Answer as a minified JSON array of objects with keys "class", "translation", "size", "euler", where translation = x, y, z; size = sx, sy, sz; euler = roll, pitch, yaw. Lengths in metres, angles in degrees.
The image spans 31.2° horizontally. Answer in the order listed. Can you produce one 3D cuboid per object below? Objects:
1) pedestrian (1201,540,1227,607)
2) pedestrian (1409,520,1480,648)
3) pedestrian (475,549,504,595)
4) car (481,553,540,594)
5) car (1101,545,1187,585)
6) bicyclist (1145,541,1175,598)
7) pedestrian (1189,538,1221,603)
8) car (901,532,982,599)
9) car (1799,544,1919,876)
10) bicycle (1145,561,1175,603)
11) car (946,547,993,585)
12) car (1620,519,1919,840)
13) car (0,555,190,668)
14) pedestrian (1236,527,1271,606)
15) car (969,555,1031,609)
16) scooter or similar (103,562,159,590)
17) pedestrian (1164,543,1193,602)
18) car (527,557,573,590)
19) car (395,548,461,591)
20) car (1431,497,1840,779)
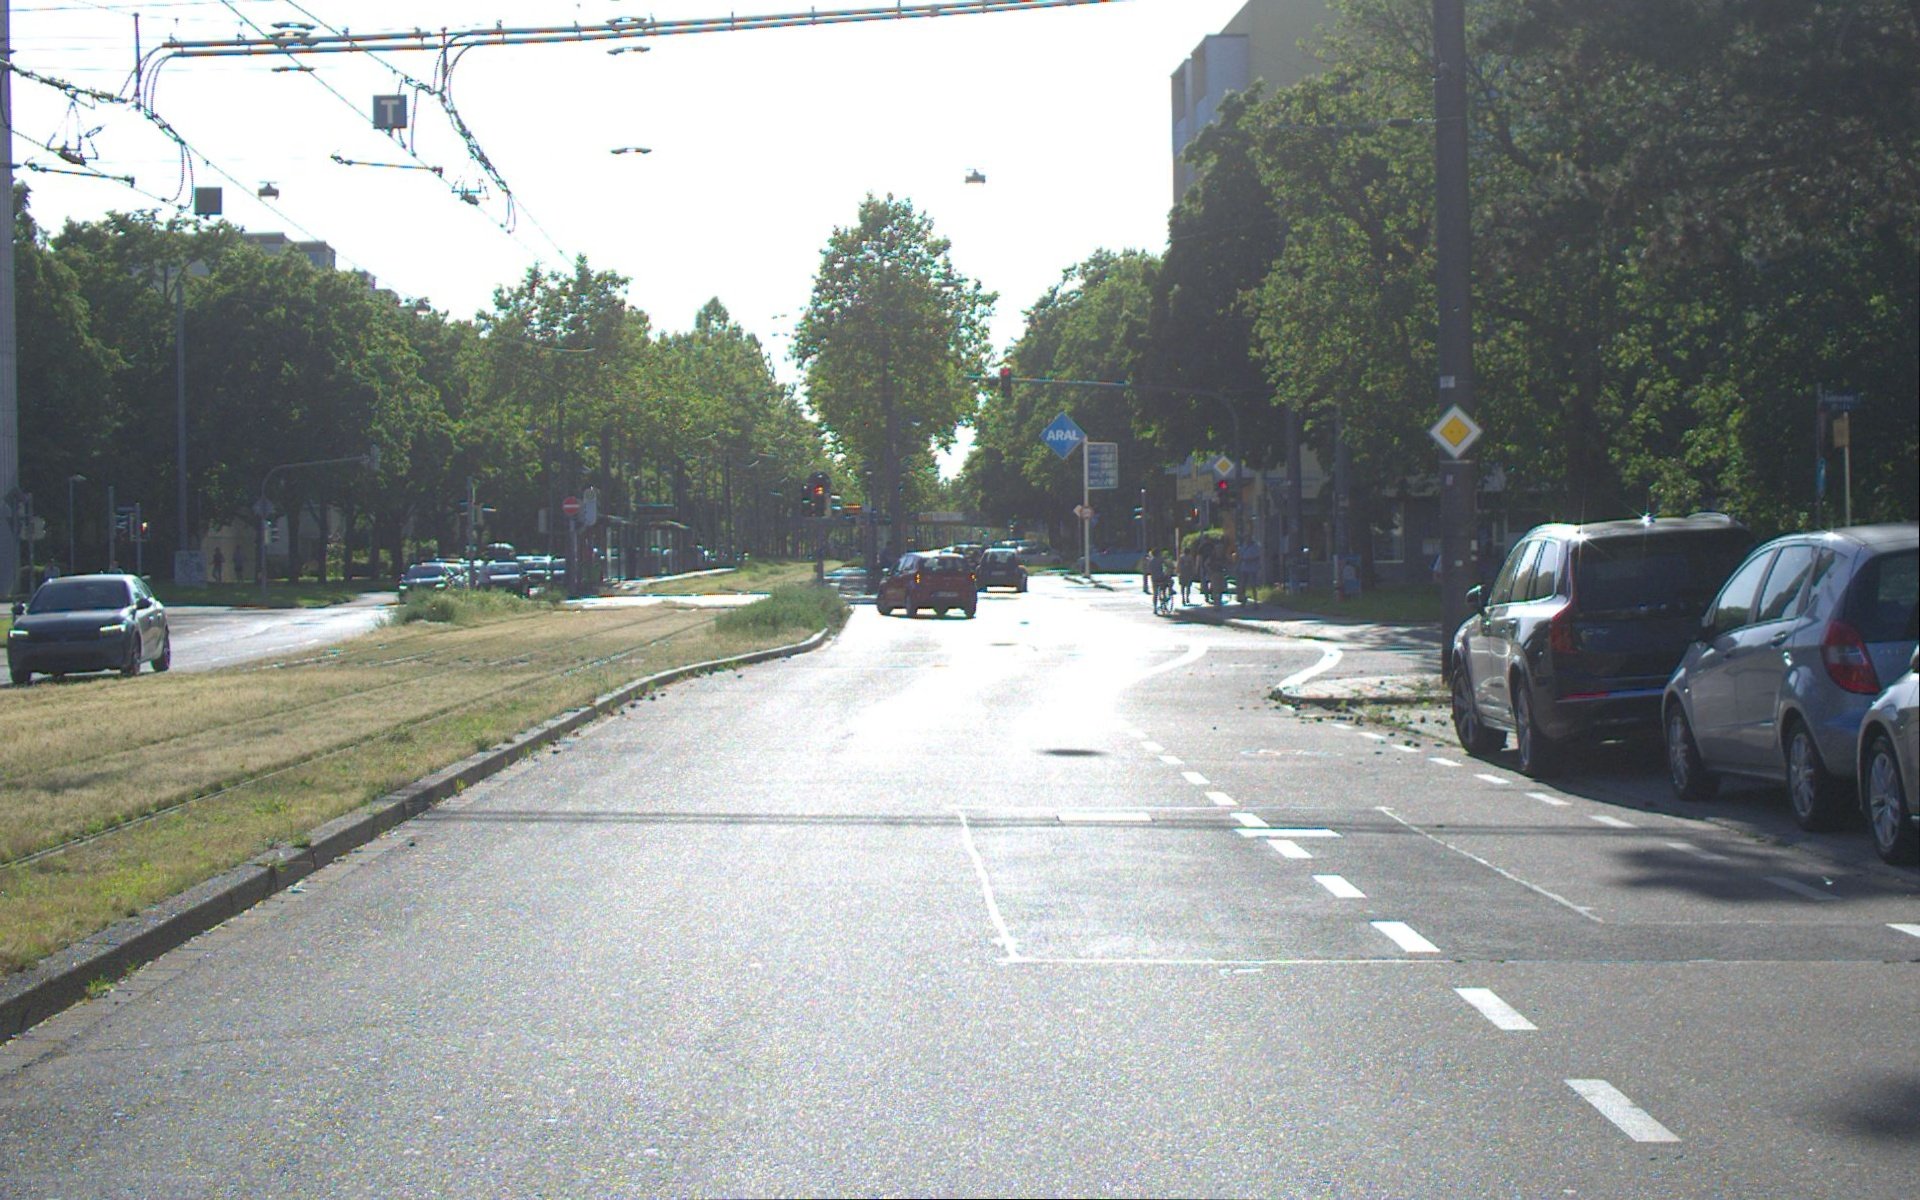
[{"class":"pedestrian","translation":[5.870,-0.613,79.506],"size":[0.529,1.523,0.627],"euler":[-2,0,5]},{"class":"pedestrian","translation":[6.603,-0.218,46.894],"size":[0.880,1.716,0.725],"euler":[-1,1,5]},{"class":"pedestrian","translation":[-16.620,-0.979,121.478],"size":[0.891,1.601,0.613],"euler":[2,1,-1]},{"class":"car","translation":[-16.903,-1.012,129.511],"size":[1.687,1.528,4.361],"euler":[-1,1,-1]},{"class":"car","translation":[9.158,-1.745,170.911],"size":[3.989,1.853,2.011],"euler":[2,1,11]},{"class":"bicyclist","translation":[4.767,-0.731,81.890],"size":[0.638,1.318,0.803],"euler":[2,1,2]},{"class":"pedestrian","translation":[6.424,-0.778,90.116],"size":[0.730,1.676,0.532],"euler":[2,1,12]},{"class":"car","translation":[-0.459,-0.818,80.626],"size":[1.694,1.503,3.699],"euler":[1,1,-3]},{"class":"car","translation":[5.060,0.475,14.945],"size":[1.510,1.473,4.239],"euler":[-2,1,-3]},{"class":"bicycle","translation":[4.764,-0.427,81.982],"size":[0.648,0.969,1.803],"euler":[2,1,2]},{"class":"car","translation":[0.415,-1.519,153.472],"size":[1.894,1.605,4.500],"euler":[2,1,-2]},{"class":"car","translation":[5.011,0.358,19.259],"size":[1.593,1.573,3.896],"euler":[-3,1,-3]},{"class":"car","translation":[-12.153,0.130,48.226],"size":[1.694,1.443,4.217],"euler":[-2,1,0]},{"class":"pedestrian","translation":[6.773,-0.777,79.277],"size":[0.703,1.783,0.694],"euler":[-3,2,5]},{"class":"car","translation":[1.420,-0.664,123.237],"size":[1.968,1.853,4.000],"euler":[2,1,-2]},{"class":"scooter or similar","translation":[-27.025,-0.785,112.077],"size":[1.734,0.896,0.563],"euler":[-1,1,-16]},{"class":"pedestrian","translation":[5.738,-0.730,90.123],"size":[0.647,1.517,0.496],"euler":[2,1,12]},{"class":"car","translation":[-17.801,-1.163,149.318],"size":[1.566,1.397,3.915],"euler":[2,1,-1]},{"class":"car","translation":[-19.924,-1.155,128.916],"size":[1.806,1.528,4.361],"euler":[-1,1,-1]},{"class":"car","translation":[4.721,0.214,24.769],"size":[1.879,1.711,4.934],"euler":[-4,1,0]}]
